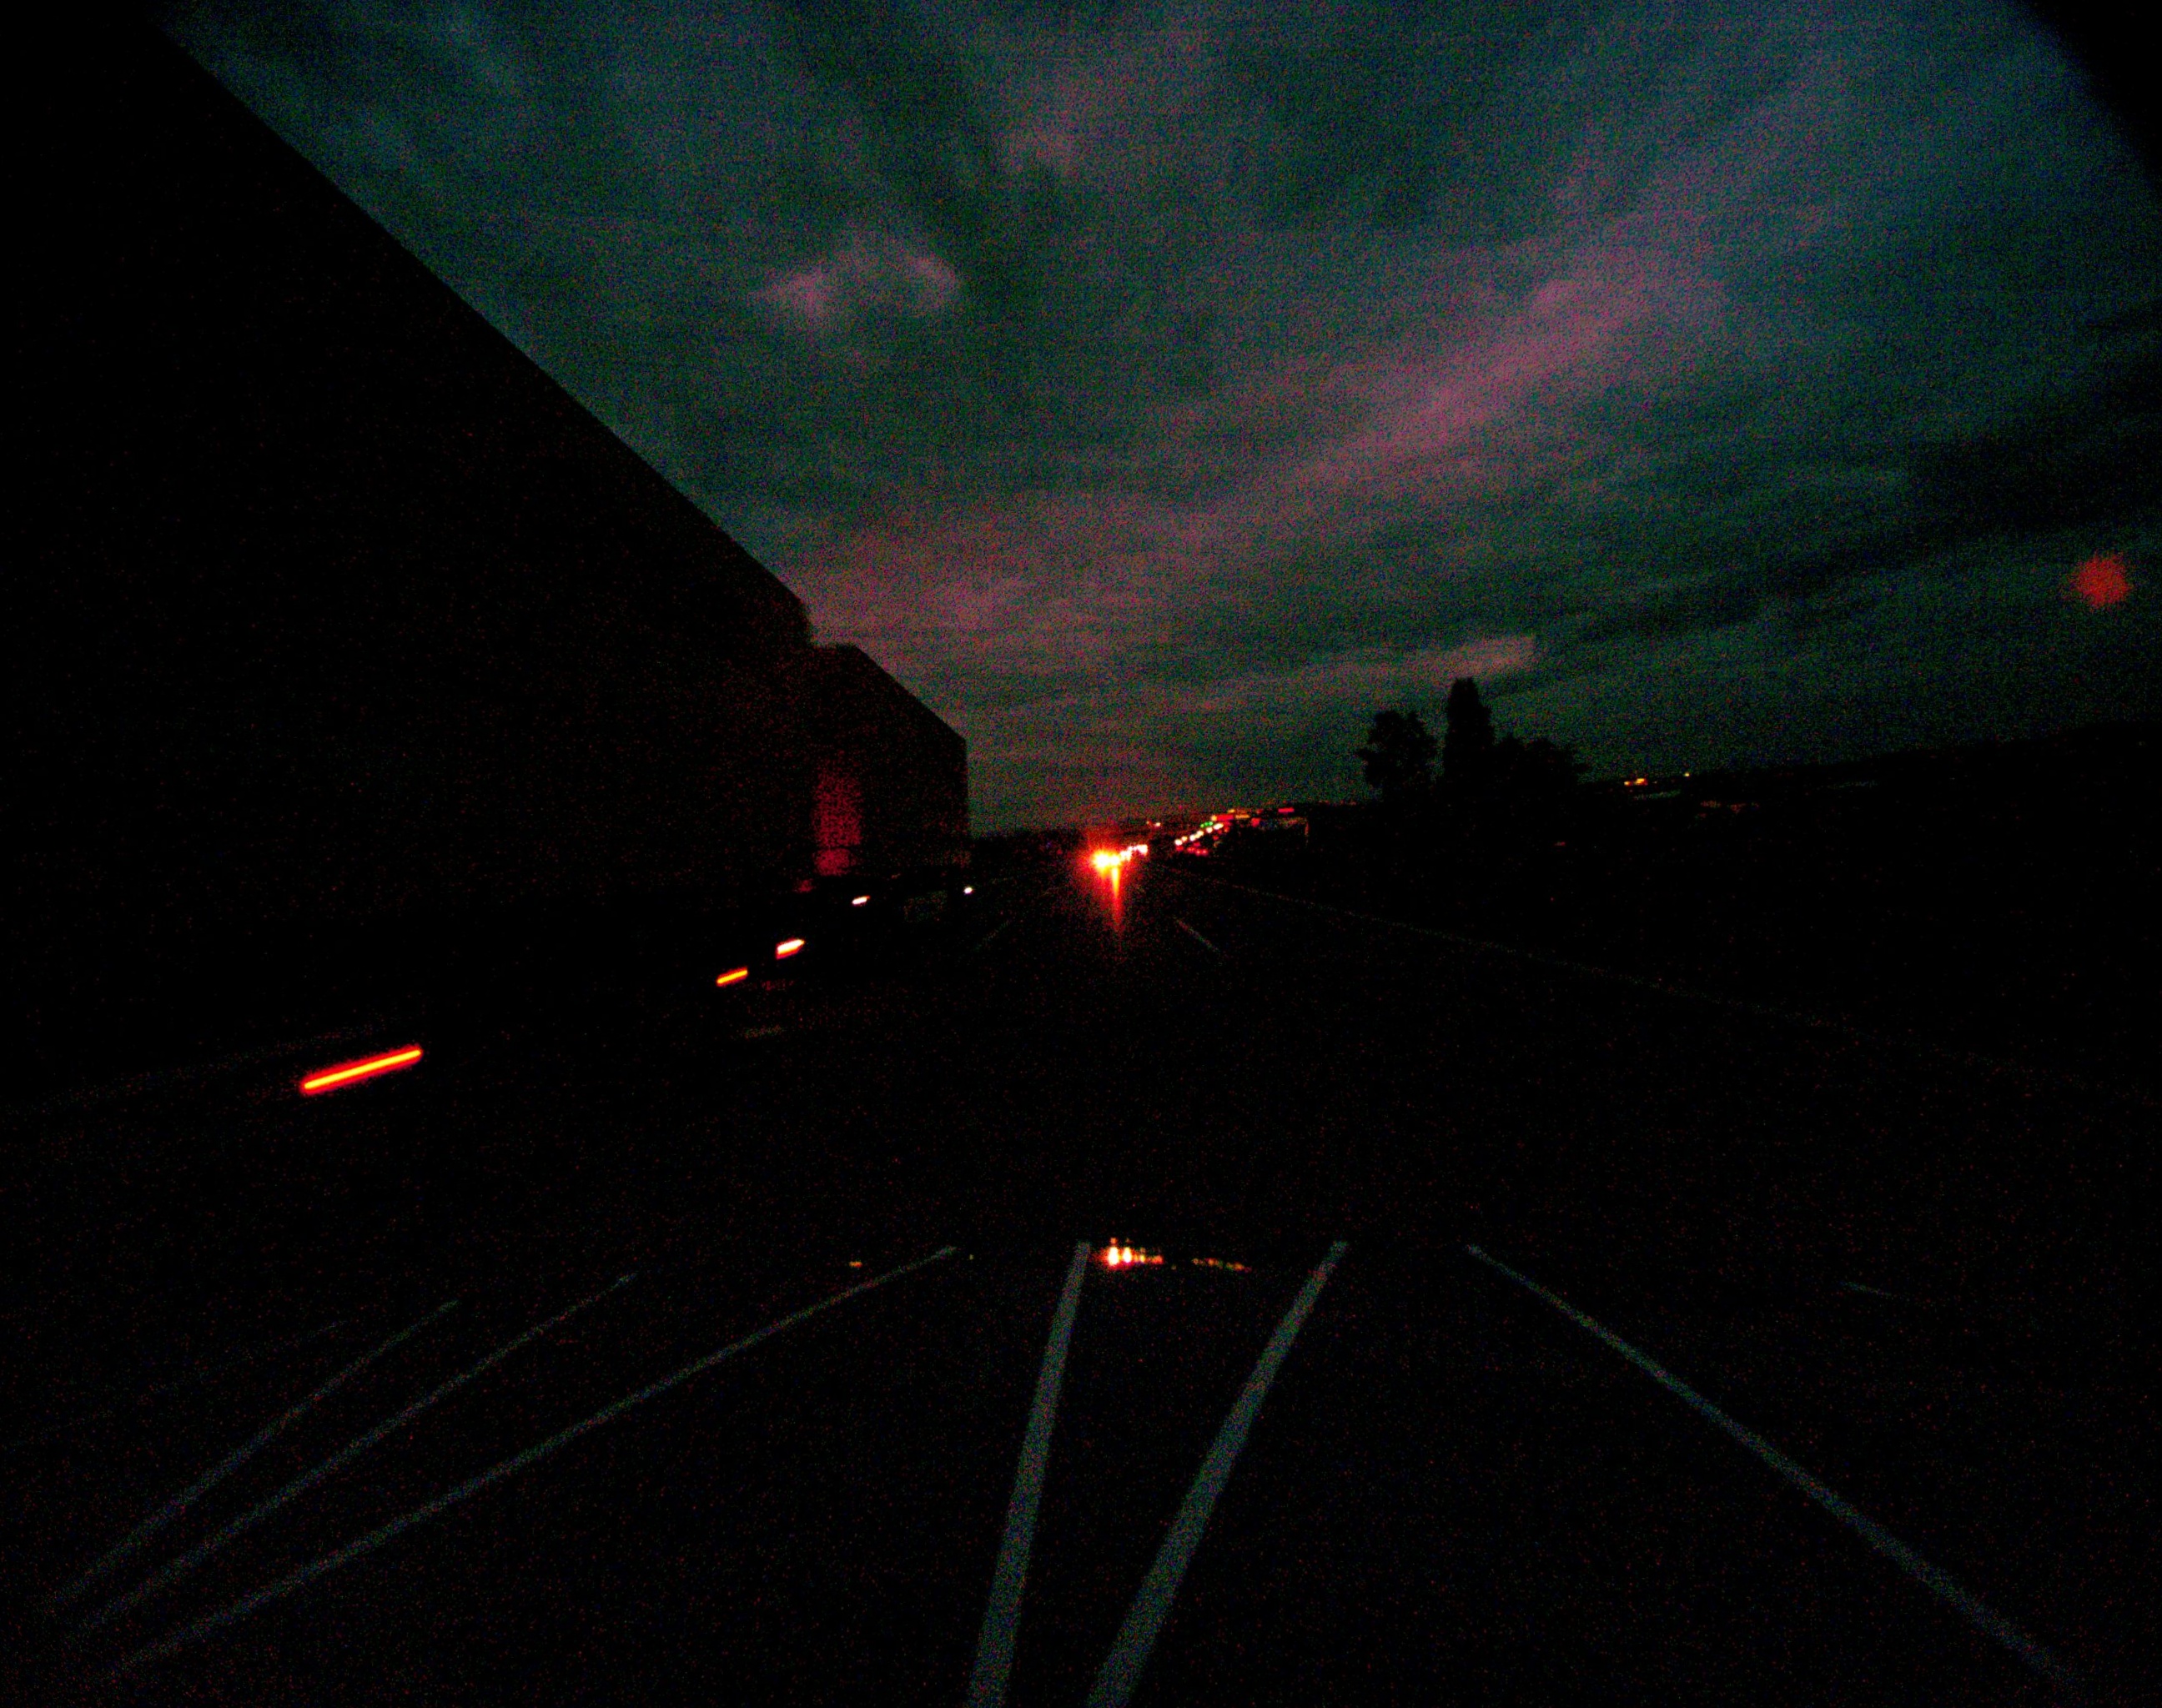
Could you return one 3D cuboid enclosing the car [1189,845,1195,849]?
[{"bbox_3d":[37.029,-2.259,252.895,1.725,1.220,4.184,-2,0,4],"label":"car"}]

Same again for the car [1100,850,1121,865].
[{"bbox_3d":[2.986,0.359,76.612,1.998,1.342,4.175,0,2,3],"label":"car"}]

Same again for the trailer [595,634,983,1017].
[{"bbox_3d":[-3.726,-0.320,12.633,2.728,4.048,8.831,-2,0,1],"label":"trailer"}]

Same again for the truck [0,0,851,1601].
[{"bbox_3d":[-3.878,-0.276,2.724,2.697,4.048,10.519,-2,0,0],"label":"truck"}]

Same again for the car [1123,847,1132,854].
[{"bbox_3d":[11.979,-0.928,195.932,1.997,1.342,4.176,-4,2,8],"label":"car"}]

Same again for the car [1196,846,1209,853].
[{"bbox_3d":[26.433,-1.005,164.783,1.999,1.395,4.797,-2,0,0],"label":"car"}]
